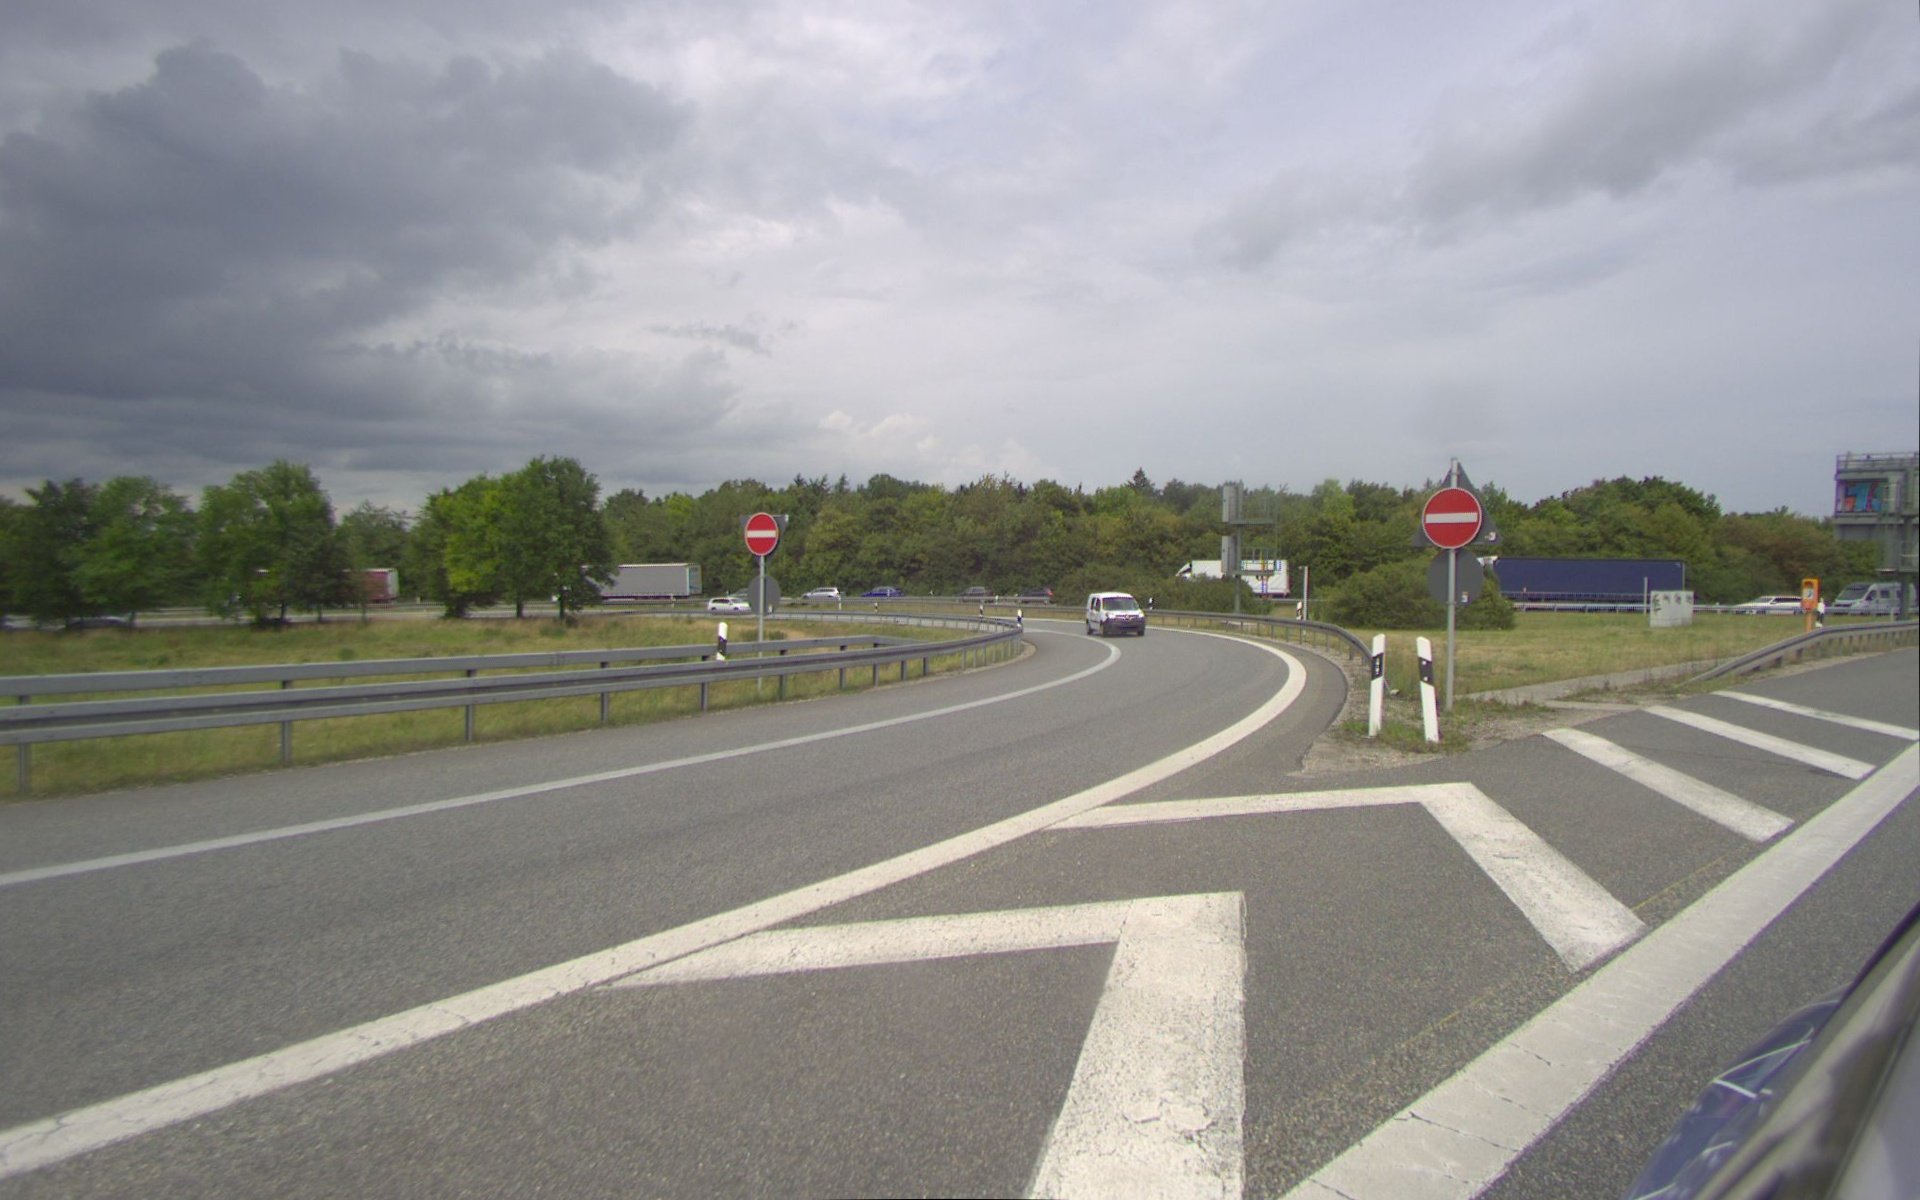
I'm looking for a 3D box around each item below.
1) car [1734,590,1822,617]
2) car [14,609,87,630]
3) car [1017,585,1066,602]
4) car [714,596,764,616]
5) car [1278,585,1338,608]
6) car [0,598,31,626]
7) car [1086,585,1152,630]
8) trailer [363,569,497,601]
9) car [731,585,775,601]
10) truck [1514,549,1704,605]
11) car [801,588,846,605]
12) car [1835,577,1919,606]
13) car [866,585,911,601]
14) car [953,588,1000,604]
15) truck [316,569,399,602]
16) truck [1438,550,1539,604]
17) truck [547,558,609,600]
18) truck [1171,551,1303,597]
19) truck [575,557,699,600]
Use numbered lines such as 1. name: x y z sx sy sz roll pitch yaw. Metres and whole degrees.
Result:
1. car: 57.607 0.245 71.349 4.416 1.807 1.998 0 0 4
2. car: -78.856 1.651 87.813 4.258 1.674 2.038 -1 0 -25
3. car: 7.009 -0.570 87.189 3.961 1.418 1.544 0 0 27
4. car: -18.591 0.486 85.077 4.457 1.560 1.703 0 0 37
5. car: 24.504 -0.251 71.368 3.950 1.569 1.727 0 0 20
6. car: -92.445 1.119 95.140 6.942 2.602 2.771 0 0 -21
7. car: 6.536 0.289 41.917 1.826 1.767 4.003 -1 0 -4
8. trailer: -55.622 -1.579 106.412 12.313 3.169 3.266 0 0 -1
9. car: -20.528 -0.645 100.211 3.949 1.498 1.693 -1 0 20
10. truck: 46.820 -1.625 73.277 11.581 3.907 2.844 0 0 4
11. car: -13.106 -0.356 97.525 3.951 1.576 1.786 0 0 21
12. car: 66.278 -0.606 72.592 5.831 2.039 2.003 0 0 -9
13. car: -6.633 -0.656 93.915 3.950 1.512 1.548 0 0 20
14. car: 1.448 -0.347 90.727 3.957 1.468 1.546 0 0 25
15. truck: -63.113 -1.503 106.132 6.803 3.308 3.199 0 0 -3
16. truck: 38.528 -1.657 74.002 5.822 3.851 2.898 0 0 5
17. truck: -39.945 -2.130 105.846 5.715 4.232 2.680 -1 -1 16
18. truck: 21.810 -1.974 79.906 9.769 3.446 2.673 0 0 25
19. truck: -33.145 -2.134 103.872 12.832 4.296 2.682 0 0 16
